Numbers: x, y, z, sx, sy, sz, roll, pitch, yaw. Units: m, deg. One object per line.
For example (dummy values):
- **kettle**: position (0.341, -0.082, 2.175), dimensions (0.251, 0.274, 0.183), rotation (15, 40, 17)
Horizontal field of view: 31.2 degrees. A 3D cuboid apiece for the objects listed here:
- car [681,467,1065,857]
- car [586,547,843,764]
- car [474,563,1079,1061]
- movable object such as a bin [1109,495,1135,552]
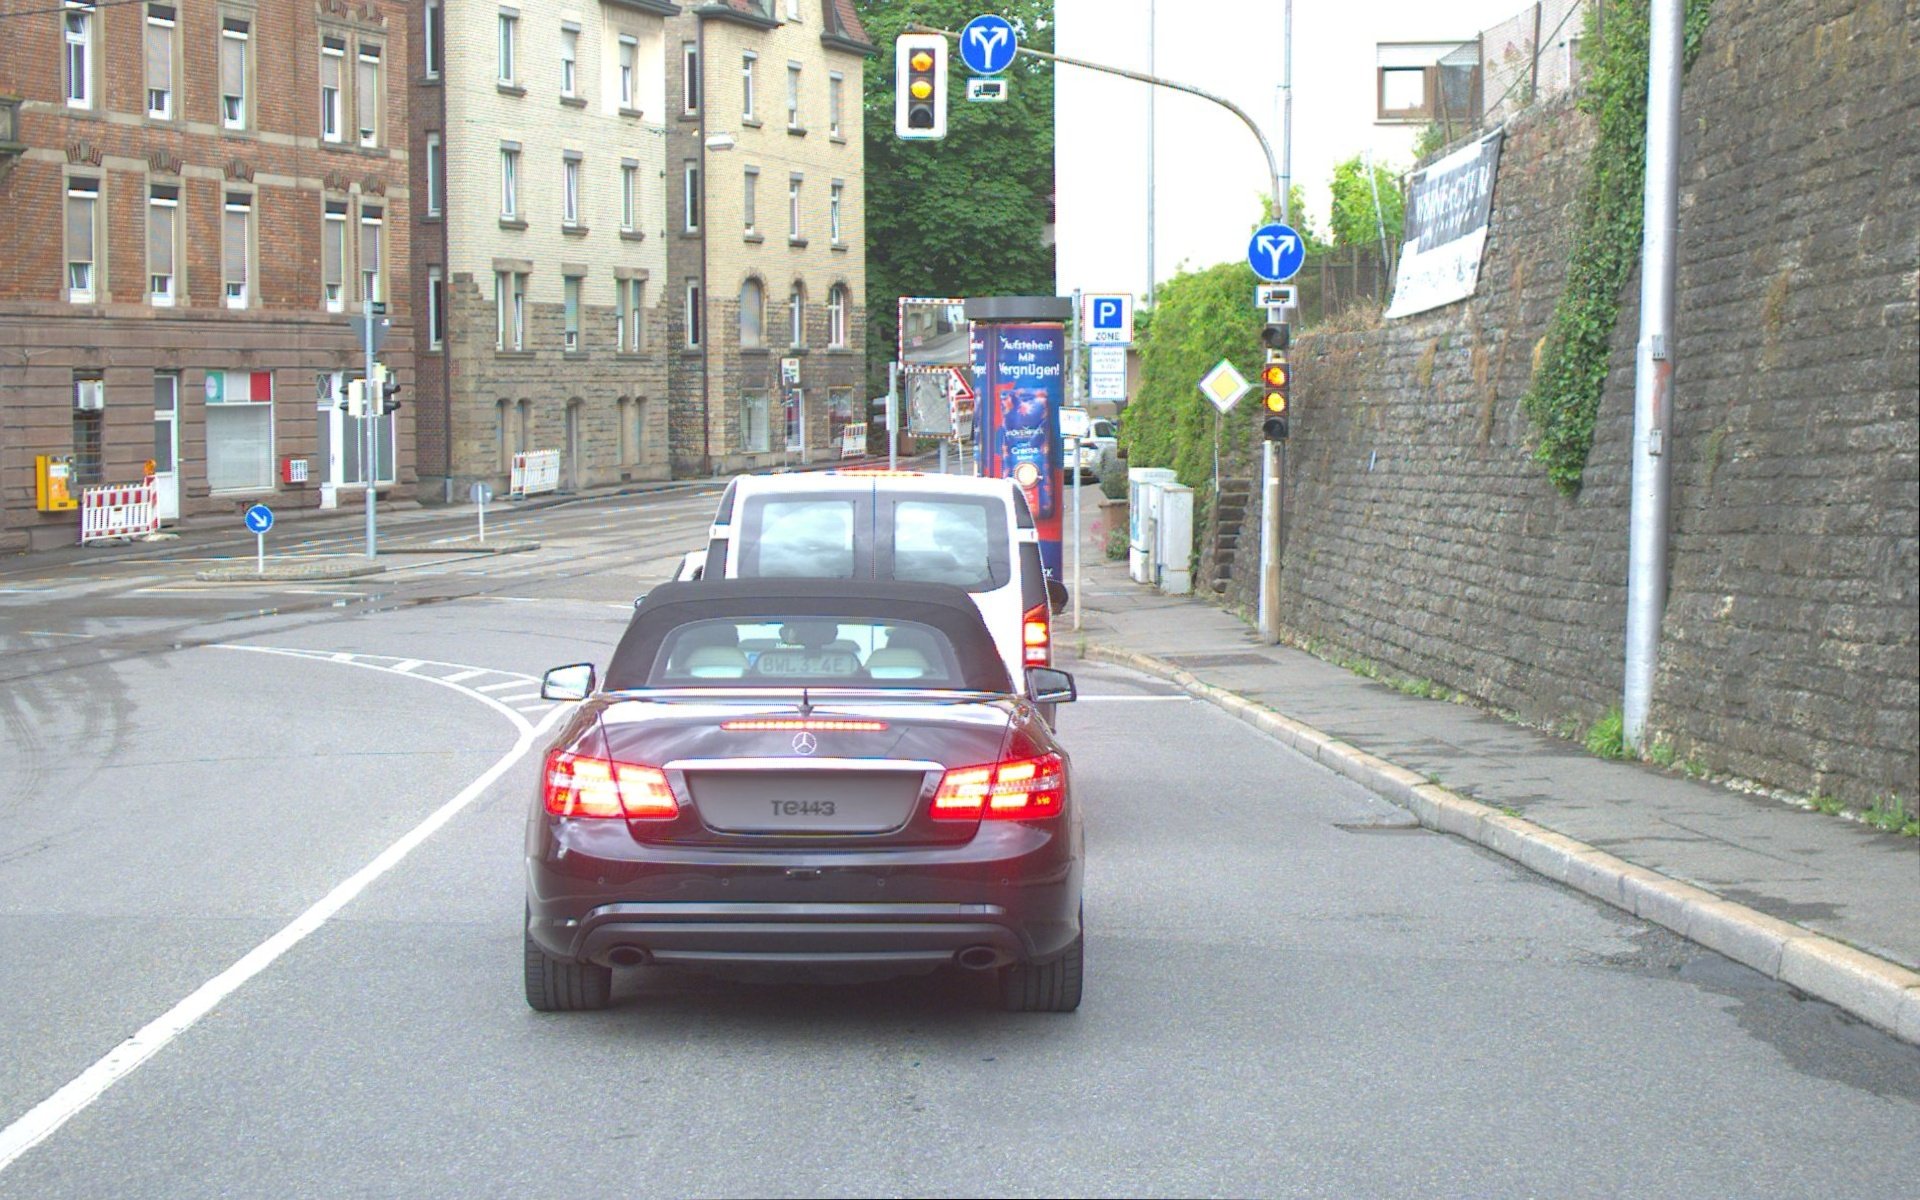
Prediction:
- **car**: position (-0.462, 0.254, 19.318), dimensions (1.891, 1.922, 4.646), rotation (0, 1, -1)
- **car**: position (-1.746, 0.352, 25.490), dimensions (1.681, 1.461, 3.919), rotation (0, 1, -1)
- **car**: position (-0.566, 0.596, 12.219), dimensions (1.761, 1.404, 4.399), rotation (0, 1, -1)
- **movable object such as a bin**: position (2.601, -1.232, 55.129), dimensions (0.343, 0.908, 0.495), rotation (0, 2, -6)
